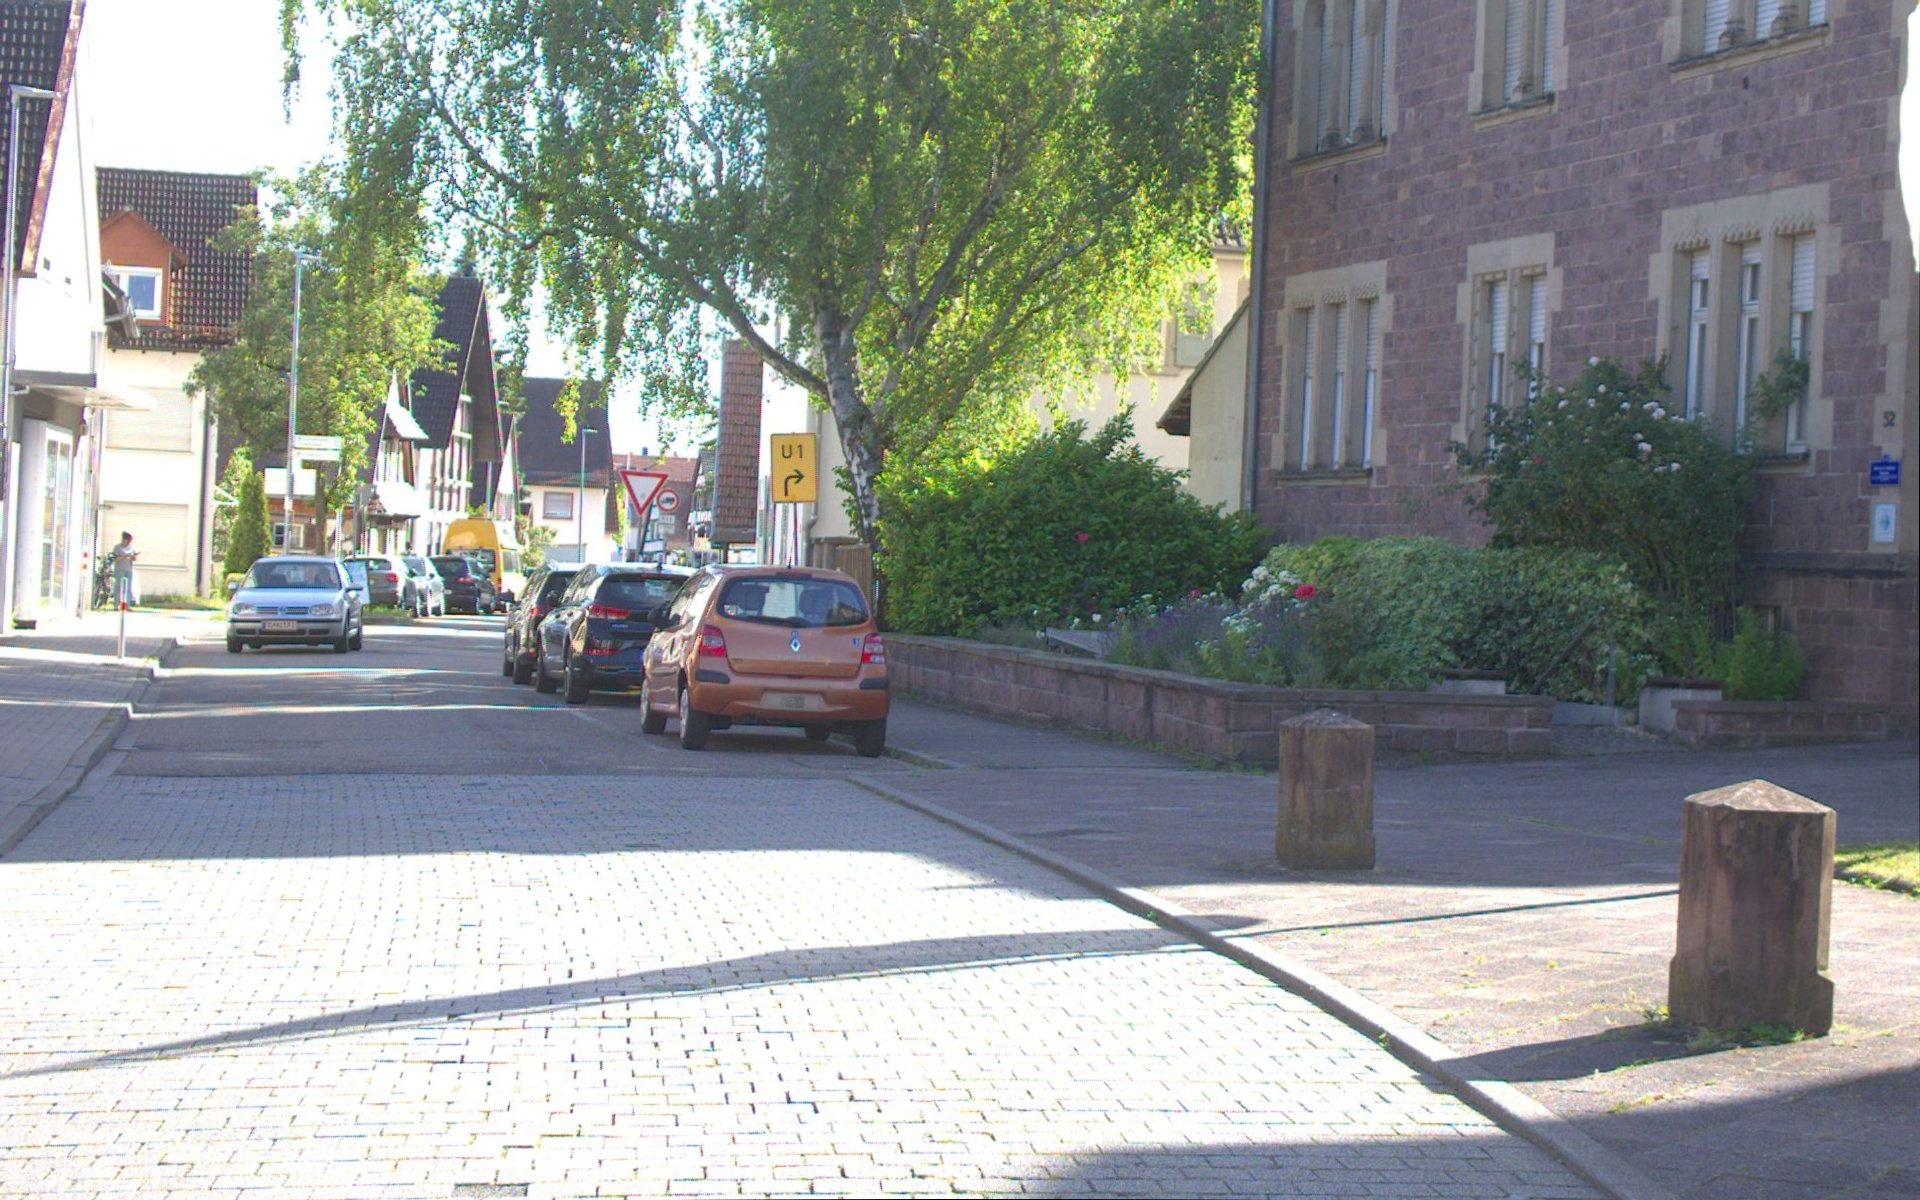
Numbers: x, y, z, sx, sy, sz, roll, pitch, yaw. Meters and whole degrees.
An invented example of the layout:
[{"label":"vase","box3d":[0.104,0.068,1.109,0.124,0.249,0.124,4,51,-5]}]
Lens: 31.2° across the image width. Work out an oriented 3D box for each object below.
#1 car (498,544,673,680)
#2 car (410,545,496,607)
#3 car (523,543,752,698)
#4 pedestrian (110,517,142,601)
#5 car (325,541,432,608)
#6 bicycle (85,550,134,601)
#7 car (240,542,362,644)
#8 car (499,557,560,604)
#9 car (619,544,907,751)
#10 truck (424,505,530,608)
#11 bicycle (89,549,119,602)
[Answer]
[{"label":"car","box3d":[-4.528,0.101,41.141,1.807,1.431,4.287,3,1,-9]},{"label":"car","box3d":[-14.235,-0.655,96.634,1.806,1.616,3.881,3,0,-1]},{"label":"car","box3d":[-3.492,0.180,36.521,1.807,1.431,4.287,3,1,-13]},{"label":"pedestrian","box3d":[-17.184,-0.835,70.862,0.483,1.687,0.557,3,-2,-5]},{"label":"car","box3d":[-14.063,-0.587,83.307,1.867,1.500,4.107,2,0,-1]},{"label":"bicycle","box3d":[-18.292,-0.521,73.984,0.578,1.049,2.036,2,-1,-2]},{"label":"car","box3d":[-9.722,-0.125,50.754,1.670,1.398,3.893,1,1,-11]},{"label":"car","box3d":[-13.913,-0.627,111.249,1.645,1.428,3.615,3,0,-4]},{"label":"car","box3d":[-1.693,0.337,28.254,1.647,1.474,3.935,3,1,-13]},{"label":"truck","box3d":[-14.296,-1.245,102.093,2.268,2.859,5.782,3,0,-1]},{"label":"bicycle","box3d":[-17.587,-0.505,70.637,0.423,1.049,1.381,2,-1,-9]}]
